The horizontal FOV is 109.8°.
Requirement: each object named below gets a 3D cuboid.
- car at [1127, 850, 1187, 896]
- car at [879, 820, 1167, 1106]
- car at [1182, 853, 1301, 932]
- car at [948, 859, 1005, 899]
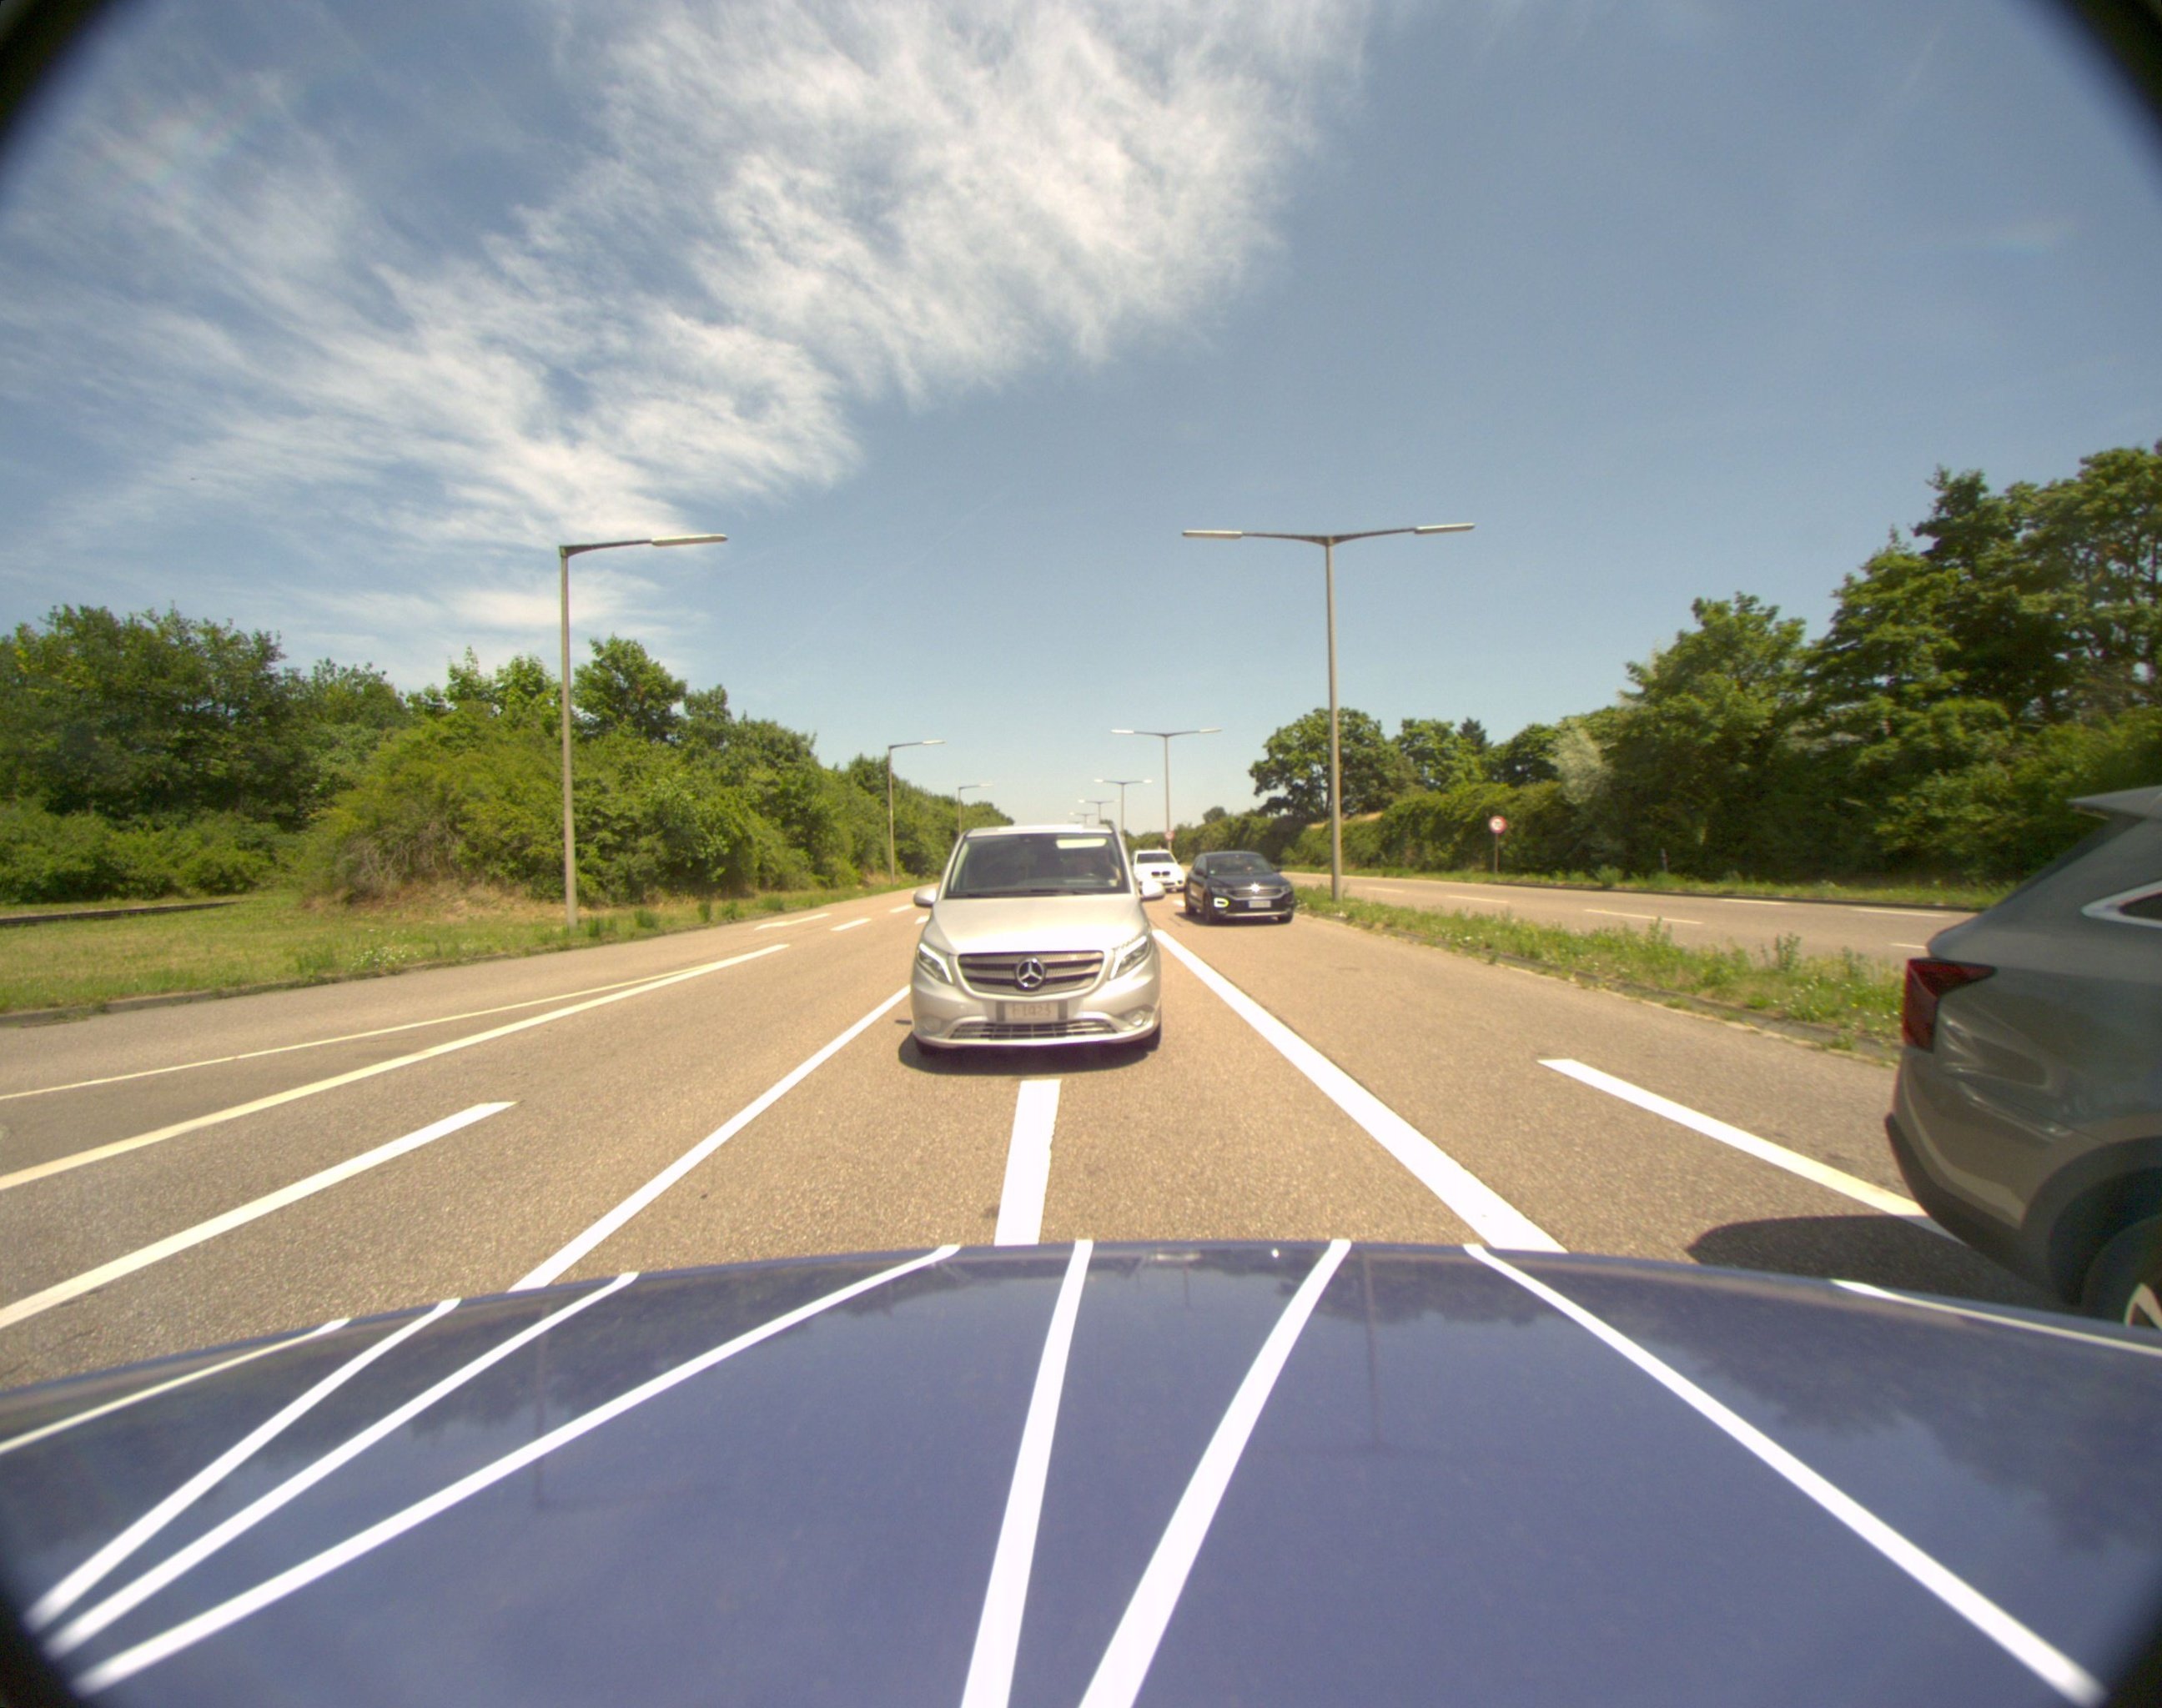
[{"bbox_3d":[2.974,0.708,30.456,1.921,1.661,4.001,-1,1,-1],"label":"car"},{"bbox_3d":[-0.328,0.725,7.916,1.876,1.866,5.732,-1,0,1],"label":"car"},{"bbox_3d":[3.427,0.754,16.984,1.753,1.491,4.000,-2,0,0],"label":"car"},{"bbox_3d":[-4.398,1.007,32.574,1.722,1.587,4.001,-1,0,2],"label":"car"}]
